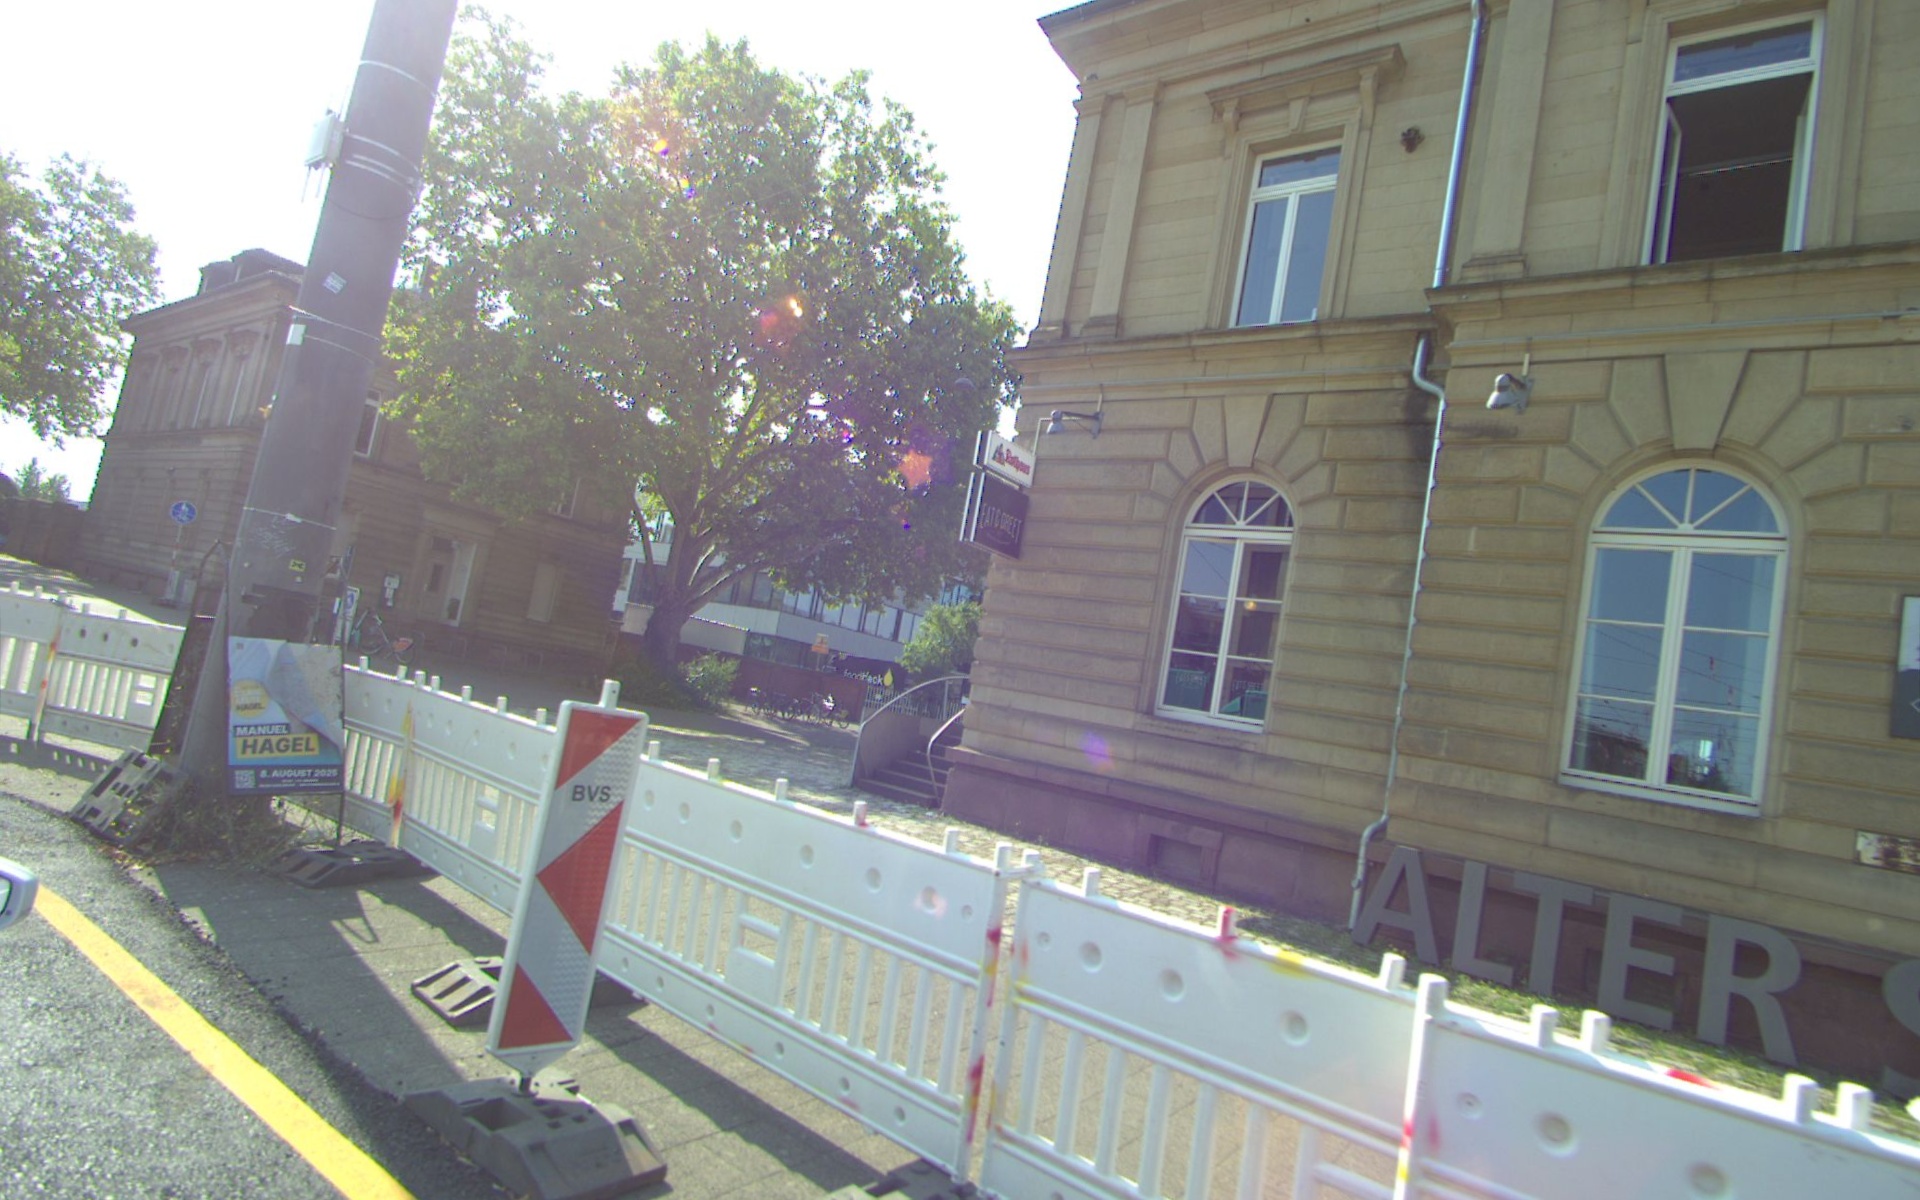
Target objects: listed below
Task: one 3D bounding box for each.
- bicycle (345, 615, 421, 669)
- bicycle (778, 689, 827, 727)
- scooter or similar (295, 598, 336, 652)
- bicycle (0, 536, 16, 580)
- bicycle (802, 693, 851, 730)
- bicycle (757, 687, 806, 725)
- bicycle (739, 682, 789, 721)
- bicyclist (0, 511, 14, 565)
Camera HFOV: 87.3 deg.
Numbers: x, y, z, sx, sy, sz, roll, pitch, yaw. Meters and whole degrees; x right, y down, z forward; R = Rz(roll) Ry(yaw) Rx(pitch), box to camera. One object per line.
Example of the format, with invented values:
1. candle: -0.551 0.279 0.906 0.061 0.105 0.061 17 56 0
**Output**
1. bicycle: -15.178 1.104 26.458 1.784 1.008 0.494 11 -5 19
2. bicycle: -6.017 4.111 38.391 1.828 1.099 0.493 7 -6 35
3. scooter or similar: -16.591 0.629 25.901 1.158 1.239 0.425 5 -7 45
4. bicycle: -26.356 -1.231 27.219 1.826 1.099 0.493 8 -6 30
5. bicycle: -5.260 4.391 39.590 1.828 1.099 0.533 7 -6 35
6. bicycle: -6.682 3.962 37.609 1.828 1.098 0.493 7 -6 35
7. bicycle: -7.182 3.722 36.793 1.828 1.099 0.493 7 -6 35
8. bicyclist: -26.232 -1.669 27.235 0.586 1.553 0.471 8 -6 30
